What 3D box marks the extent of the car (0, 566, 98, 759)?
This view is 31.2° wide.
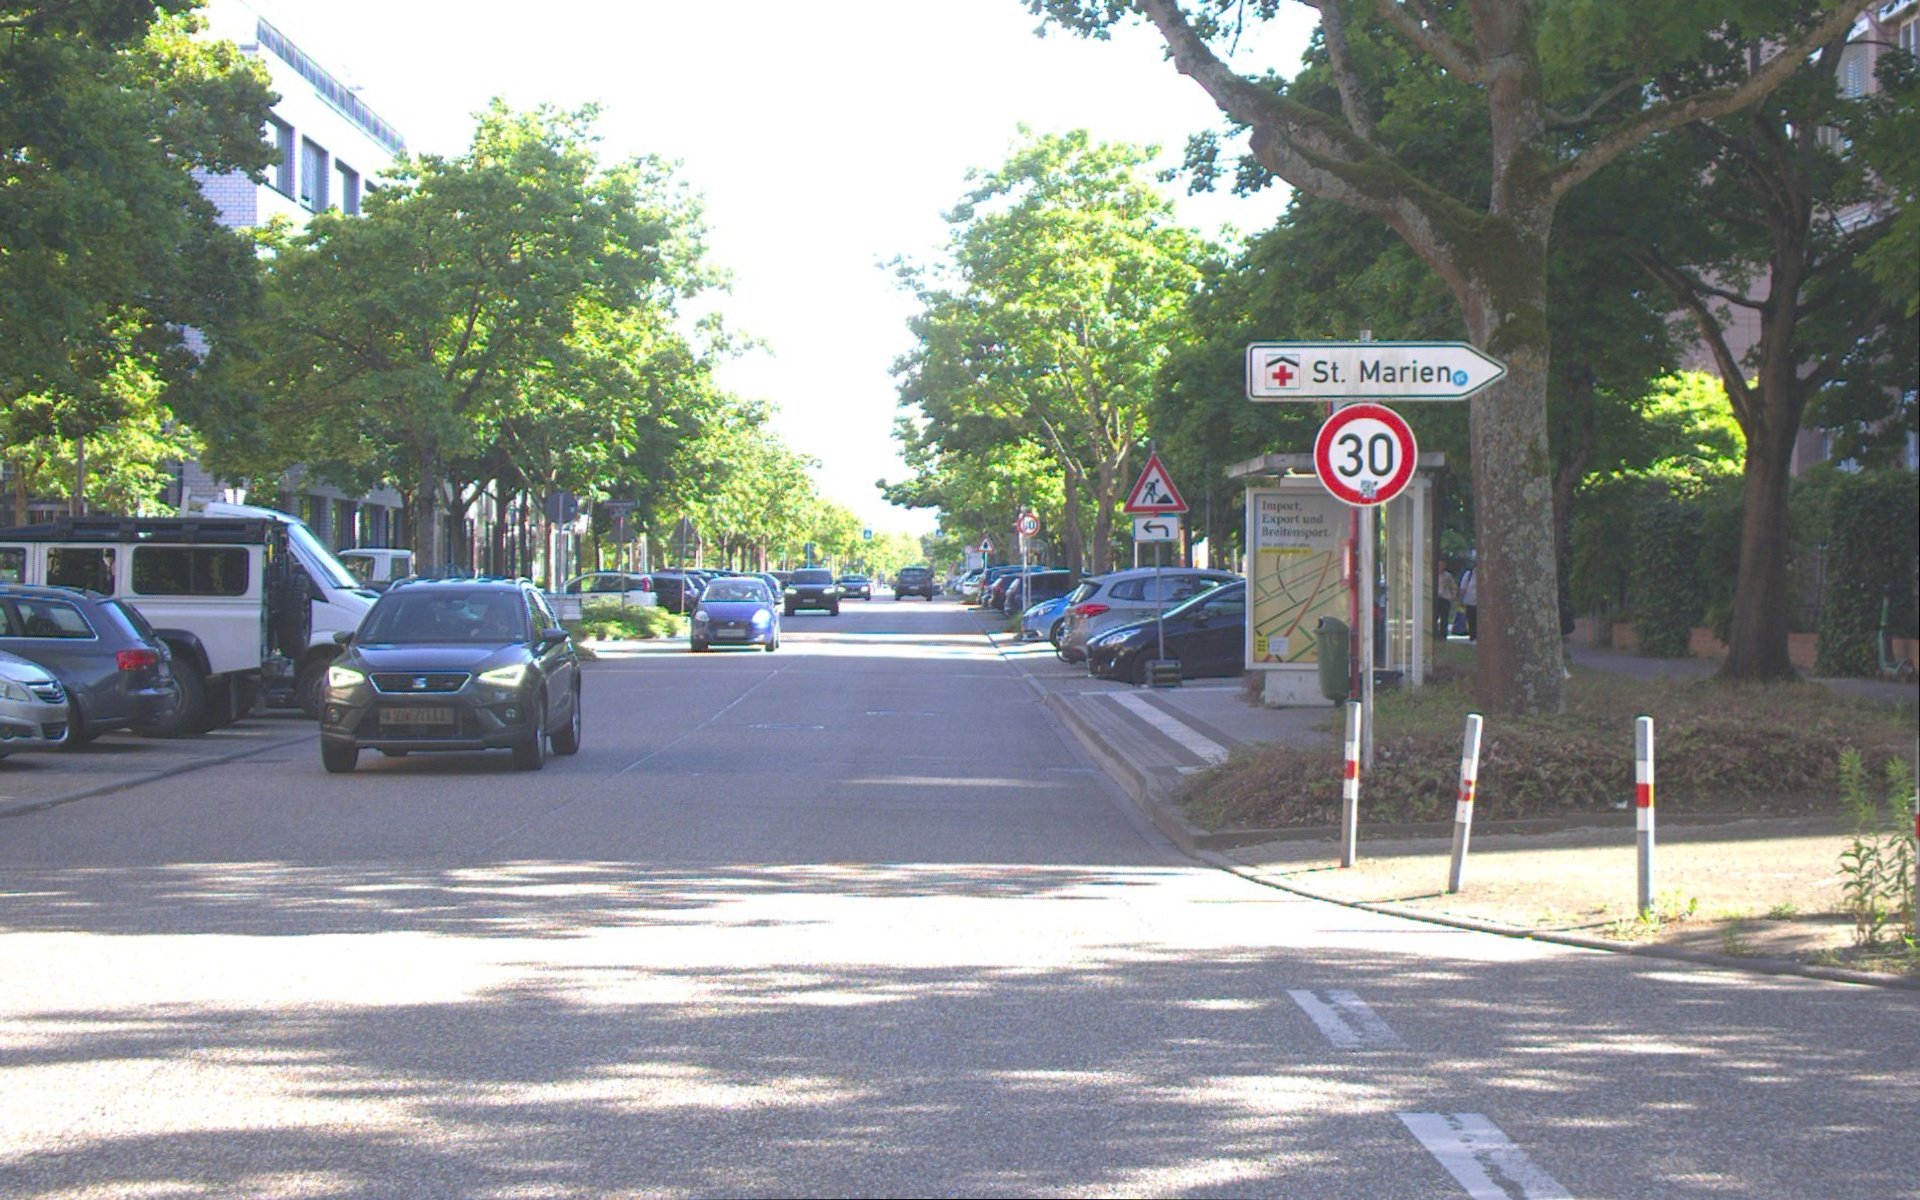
[{"bbox_3d":[-9.031,0.427,27.367,3.835,1.456,1.732,2,1,3],"label":"car"}]

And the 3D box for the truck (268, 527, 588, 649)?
[{"bbox_3d":[-8.851,-0.203,57.494,4.985,1.952,2.138,1,0,2],"label":"truck"}]

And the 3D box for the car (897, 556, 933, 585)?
[{"bbox_3d":[-2.466,-1.607,187.695,1.933,1.592,4.366,0,1,-1],"label":"car"}]

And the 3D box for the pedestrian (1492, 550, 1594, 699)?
[{"bbox_3d":[6.906,0.279,40.762,0.917,1.705,0.698,-3,1,-13],"label":"pedestrian"}]

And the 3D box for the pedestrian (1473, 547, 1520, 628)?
[{"bbox_3d":[9.789,-0.233,62.763,0.700,1.453,0.715,0,1,-3],"label":"pedestrian"}]

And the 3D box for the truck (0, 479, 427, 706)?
[{"bbox_3d":[-9.241,-0.098,38.318,6.232,2.413,2.187,1,0,0],"label":"truck"}]

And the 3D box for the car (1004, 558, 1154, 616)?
[{"bbox_3d":[3.477,-0.394,101.193,4.267,1.628,1.858,-1,0,-3],"label":"car"}]

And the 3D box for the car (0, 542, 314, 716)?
[{"bbox_3d":[-8.911,0.265,35.438,4.107,1.656,2.000,2,0,-1],"label":"car"}]

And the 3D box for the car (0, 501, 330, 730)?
[{"bbox_3d":[-8.497,0.109,32.969,4.481,2.045,2.000,2,0,0],"label":"car"}]

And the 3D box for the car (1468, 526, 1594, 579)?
[{"bbox_3d":[20.683,-1.713,124.638,4.071,1.777,2.000,2,0,-4],"label":"car"}]

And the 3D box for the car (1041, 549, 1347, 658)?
[{"bbox_3d":[3.536,0.047,52.419,4.351,1.592,1.940,1,0,-6],"label":"car"}]

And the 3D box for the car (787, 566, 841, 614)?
[{"bbox_3d":[-5.233,-0.368,122.825,1.891,1.678,4.353,0,1,-3],"label":"car"}]

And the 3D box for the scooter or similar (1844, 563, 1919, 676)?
[{"bbox_3d":[11.232,0.225,41.339,0.549,1.321,1.806,2,0,-6],"label":"scooter or similar"}]

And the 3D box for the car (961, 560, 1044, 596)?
[{"bbox_3d":[2.109,-1.092,172.687,3.986,1.786,2.000,0,0,-5],"label":"car"}]

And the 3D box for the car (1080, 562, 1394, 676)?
[{"bbox_3d":[3.618,0.243,45.337,3.934,1.434,1.775,1,0,-2],"label":"car"}]

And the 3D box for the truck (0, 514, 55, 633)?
[{"bbox_3d":[-24.223,-0.606,79.201,6.103,2.695,2.578,0,1,-2],"label":"truck"}]

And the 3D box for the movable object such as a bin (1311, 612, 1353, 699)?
[{"bbox_3d":[3.314,0.493,30.645,0.298,0.751,0.467,-2,0,0],"label":"movable object such as a bin"}]

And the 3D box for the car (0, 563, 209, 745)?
[{"bbox_3d":[-8.694,0.424,30.123,3.778,1.487,1.833,2,1,1],"label":"car"}]

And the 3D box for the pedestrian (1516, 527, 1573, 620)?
[{"bbox_3d":[10.998,-0.503,64.731,0.695,1.705,0.921,-3,1,-11],"label":"pedestrian"}]

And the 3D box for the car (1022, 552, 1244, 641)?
[{"bbox_3d":[3.557,-0.087,71.111,4.405,1.613,1.912,-2,1,-1],"label":"car"}]

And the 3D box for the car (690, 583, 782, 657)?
[{"bbox_3d":[-4.486,0.379,69.217,1.643,1.415,4.000,0,1,-1],"label":"car"}]

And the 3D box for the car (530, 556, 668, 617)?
[{"bbox_3d":[-9.660,-0.353,92.178,3.580,1.544,1.637,1,-2,-3],"label":"car"}]

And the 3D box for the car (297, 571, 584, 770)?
[{"bbox_3d":[-4.190,0.525,28.296,1.779,1.506,4.000,0,1,0],"label":"car"}]
